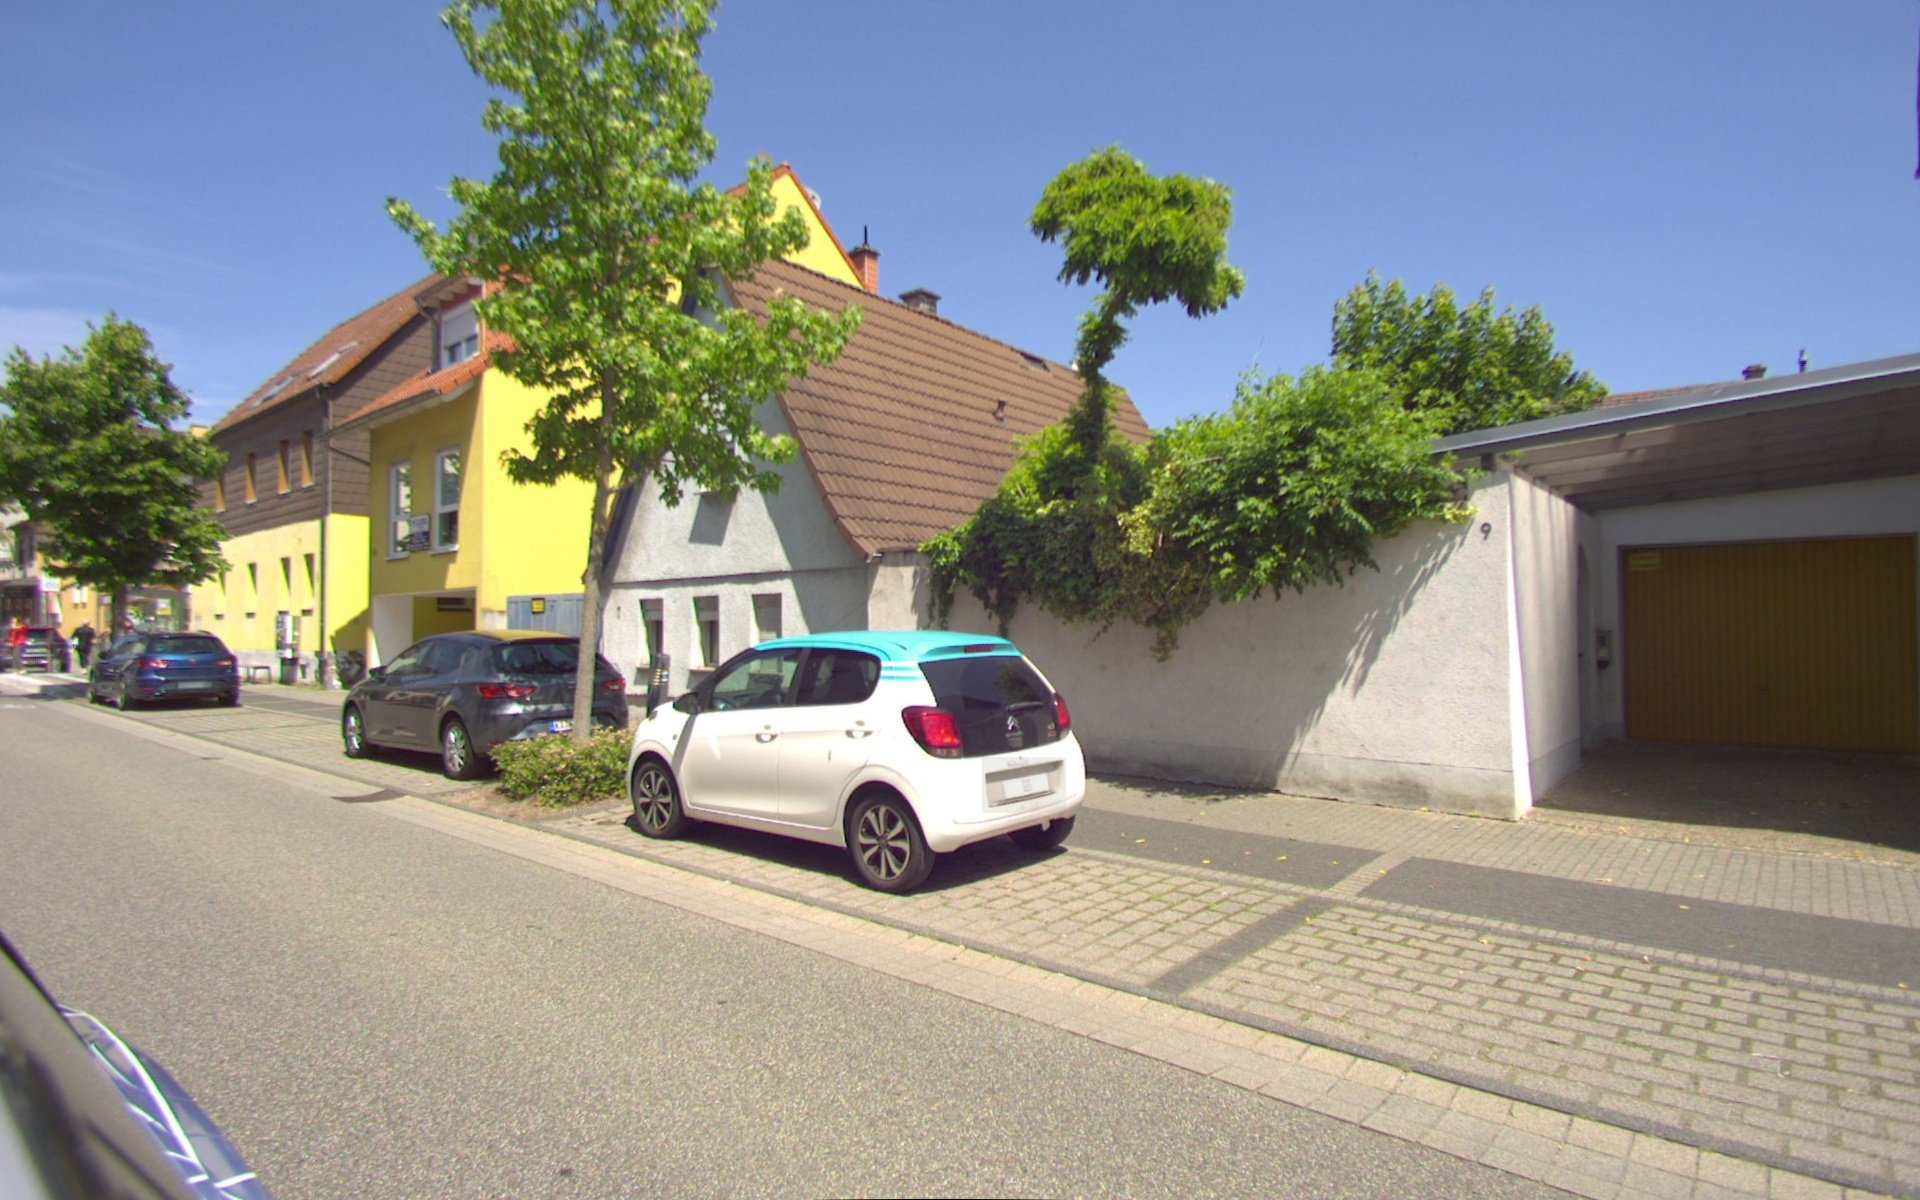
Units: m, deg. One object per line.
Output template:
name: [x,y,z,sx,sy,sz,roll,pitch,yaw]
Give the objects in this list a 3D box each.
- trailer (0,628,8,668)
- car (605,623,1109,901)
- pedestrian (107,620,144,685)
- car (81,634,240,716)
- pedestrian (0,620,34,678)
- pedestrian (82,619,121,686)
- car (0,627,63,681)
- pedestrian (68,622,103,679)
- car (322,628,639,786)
trailer: [-39.472,1.955,40.446,3.878,1.593,1.475,-2,0,39]
car: [-0.835,0.899,6.971,3.408,1.441,1.537,-2,-3,41]
pedestrian: [-21.330,1.335,25.870,0.528,1.614,0.623,-2,-3,41]
car: [-15.413,1.360,19.444,4.155,1.418,1.639,-2,-2,41]
pedestrian: [-27.406,1.426,29.409,0.624,1.668,0.635,-2,-3,40]
pedestrian: [-21.199,1.292,24.995,0.528,1.614,0.623,-2,-3,41]
car: [-29.990,1.684,32.135,4.155,1.587,1.731,-2,-2,41]
pedestrian: [-25.416,1.463,29.419,0.770,1.614,0.655,-2,-3,41]
car: [-5.429,1.059,11.232,4.096,1.441,1.628,-2,-4,41]
